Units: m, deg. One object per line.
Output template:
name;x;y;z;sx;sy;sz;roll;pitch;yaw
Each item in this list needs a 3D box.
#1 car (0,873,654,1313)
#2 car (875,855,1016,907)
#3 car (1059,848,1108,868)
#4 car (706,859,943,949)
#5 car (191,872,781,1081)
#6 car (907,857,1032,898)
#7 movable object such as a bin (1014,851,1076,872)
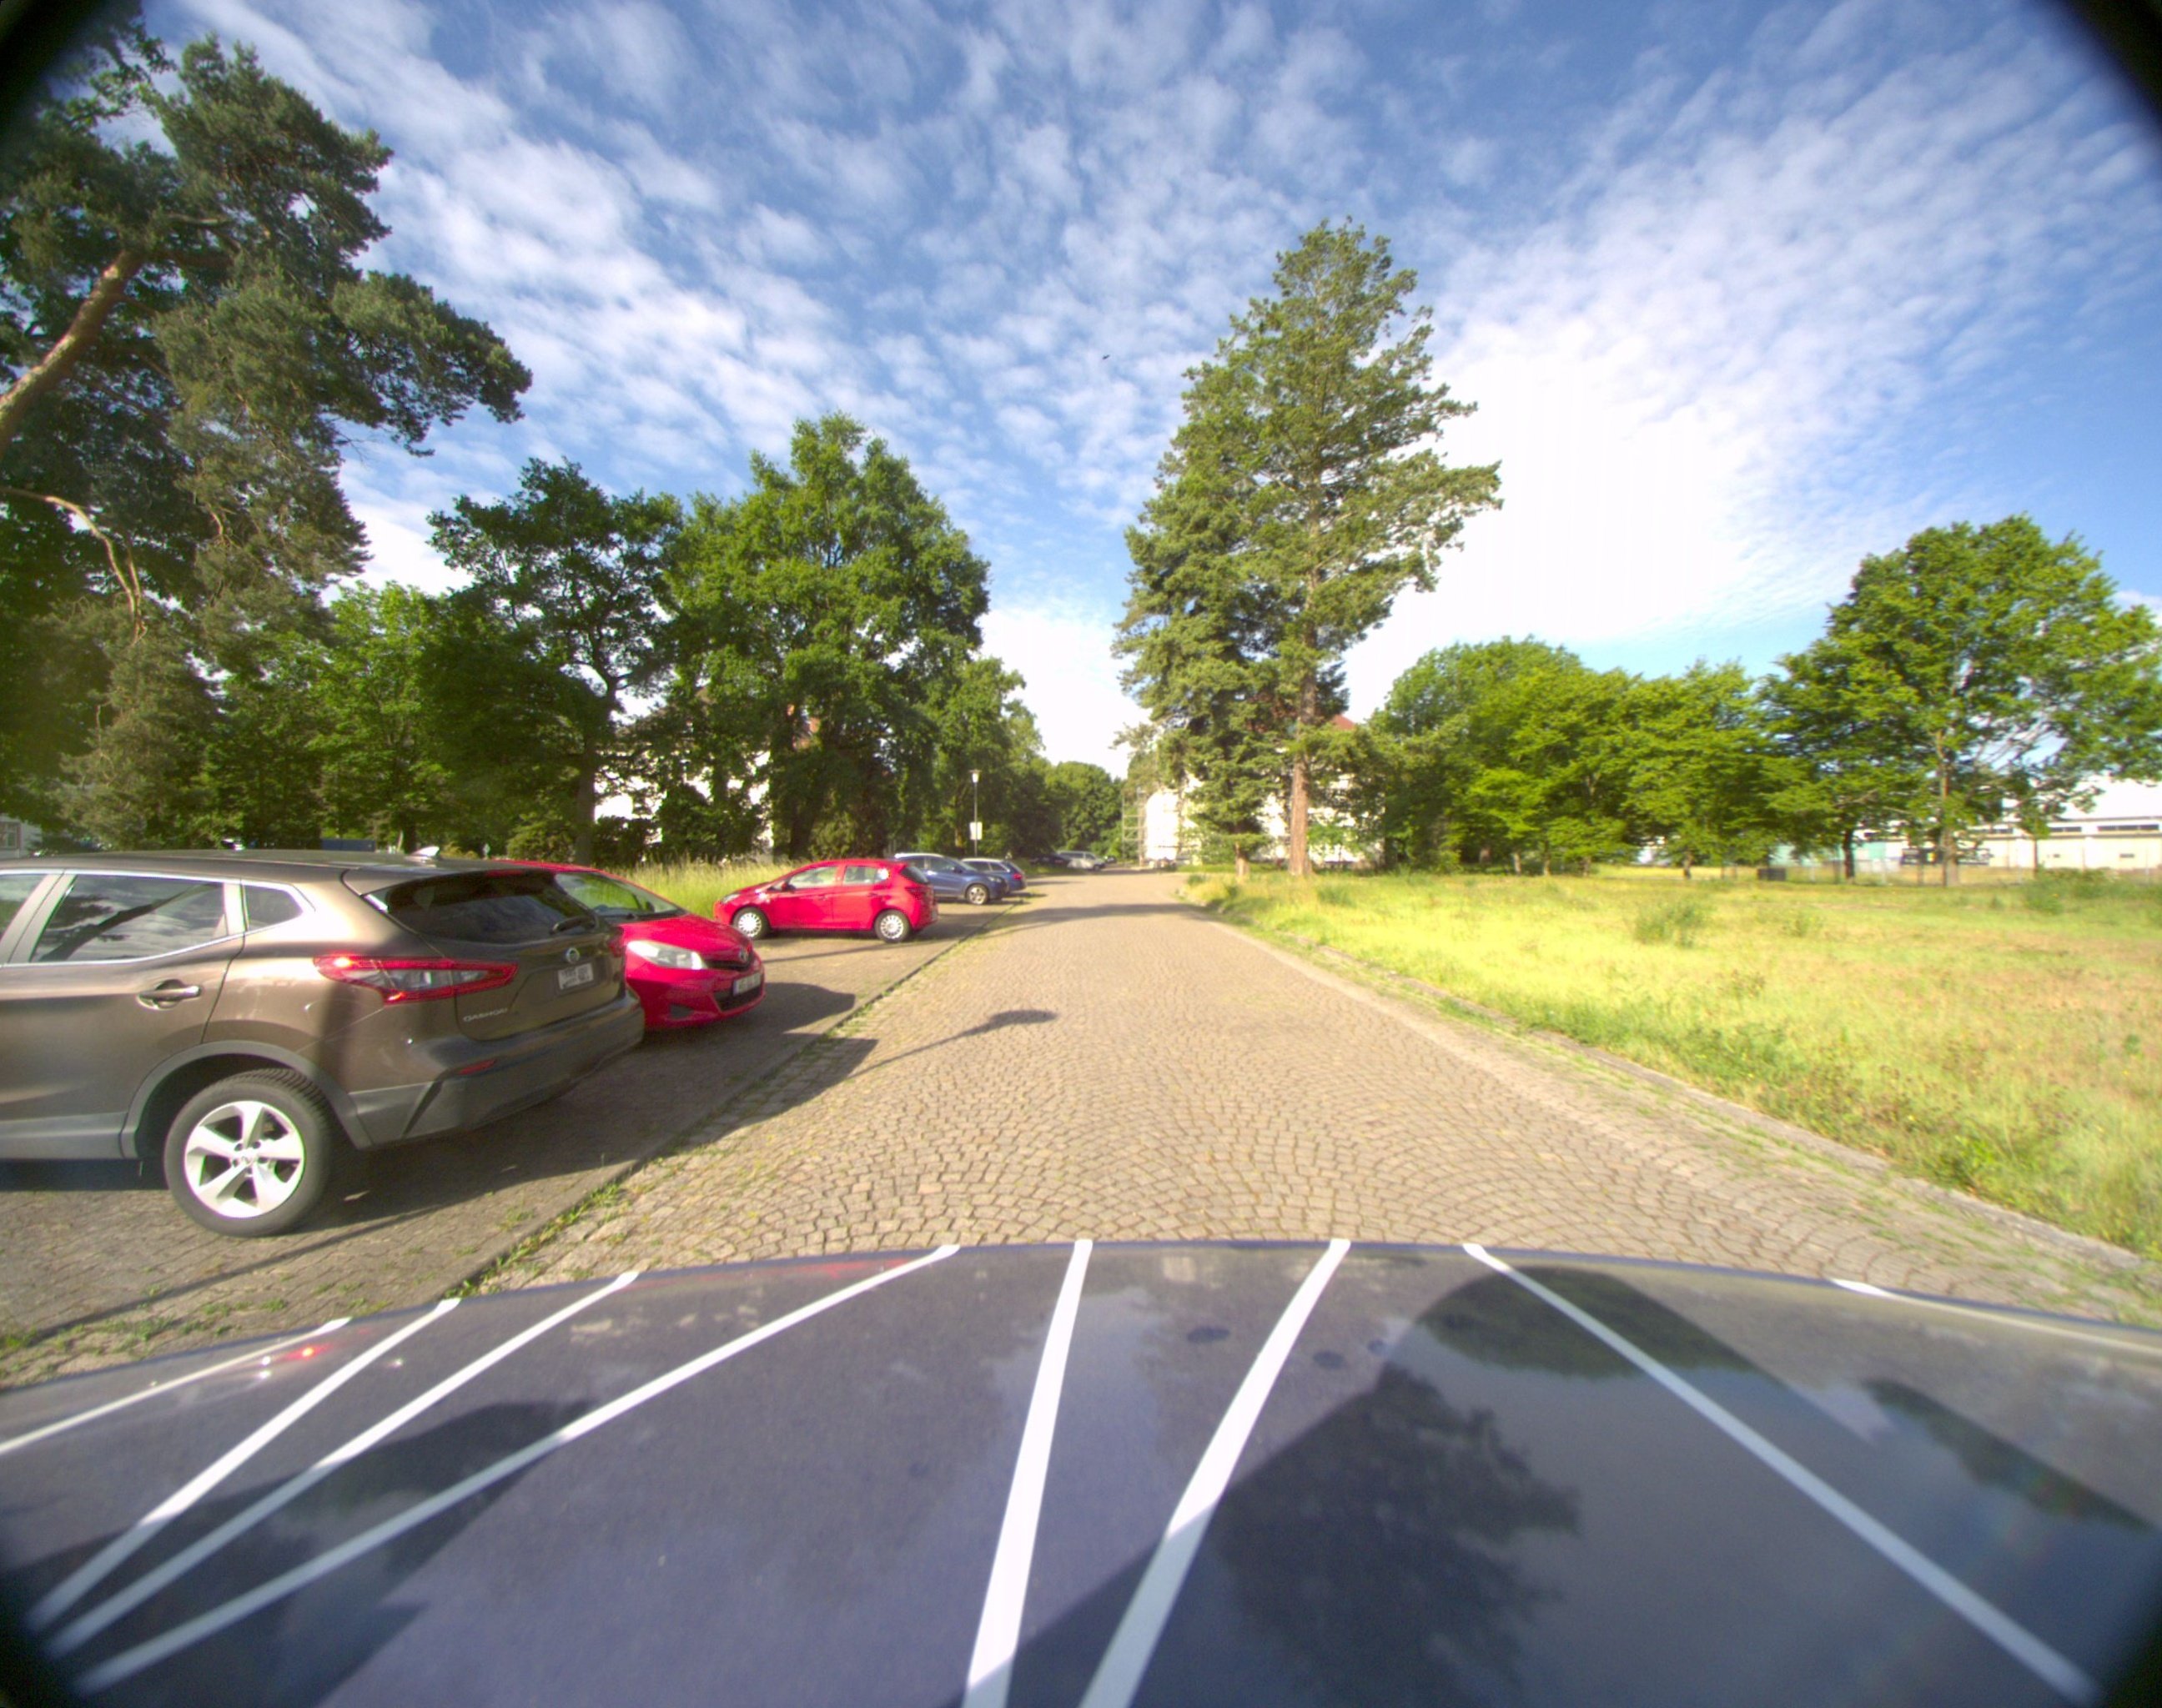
car;-4.582;0.924;3.734;3.946;1.612;1.771;0;0;-1
car;-4.276;0.842;24.418;4.187;1.581;1.751;0;0;0
car;0.296;0.432;77.941;4.936;2.002;2.000;0;0;1
car;-4.638;0.881;14.131;3.837;1.470;1.645;1;0;-1
car;-4.797;0.938;6.526;3.772;1.521;1.645;0;0;1
car;-4.217;0.885;29.189;4.459;1.399;1.714;1;0;3
movable object such as a bin;-3.037;0.602;64.963;4.931;1.749;2.002;0;0;15
